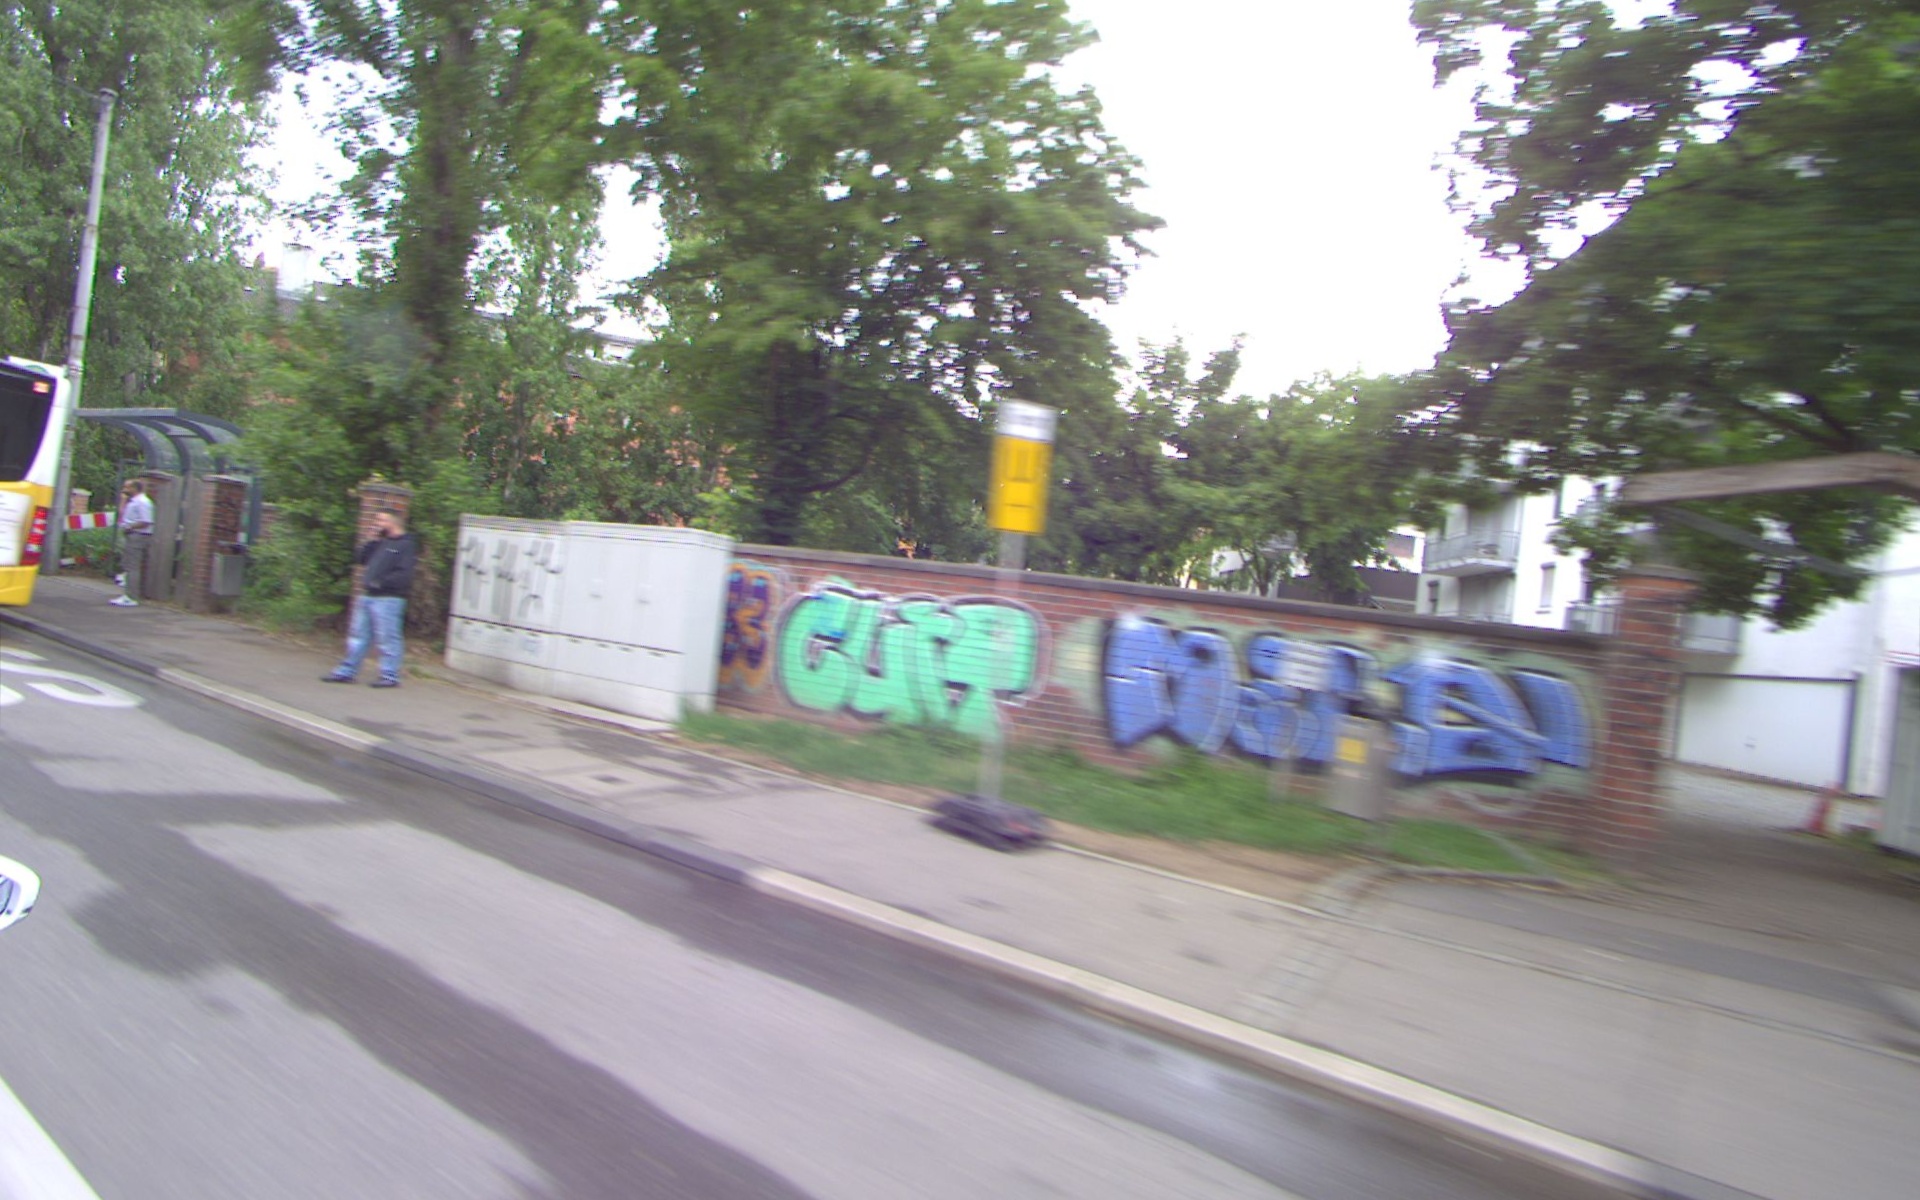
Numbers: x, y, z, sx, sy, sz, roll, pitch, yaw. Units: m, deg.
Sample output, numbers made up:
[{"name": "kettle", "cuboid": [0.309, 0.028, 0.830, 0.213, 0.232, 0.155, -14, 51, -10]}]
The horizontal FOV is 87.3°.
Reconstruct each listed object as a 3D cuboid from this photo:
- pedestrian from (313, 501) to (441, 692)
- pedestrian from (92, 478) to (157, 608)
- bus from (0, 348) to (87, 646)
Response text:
[{"name": "pedestrian", "cuboid": [-5.894, -0.039, 10.180, 0.808, 1.798, 0.583, 6, -3, 33]}, {"name": "pedestrian", "cuboid": [-12.107, -0.819, 14.582, 0.661, 1.802, 0.450, 7, 2, 33]}, {"name": "bus", "cuboid": [-15.002, -1.695, 13.042, 9.877, 3.170, 2.669, 6, -3, 33]}]
